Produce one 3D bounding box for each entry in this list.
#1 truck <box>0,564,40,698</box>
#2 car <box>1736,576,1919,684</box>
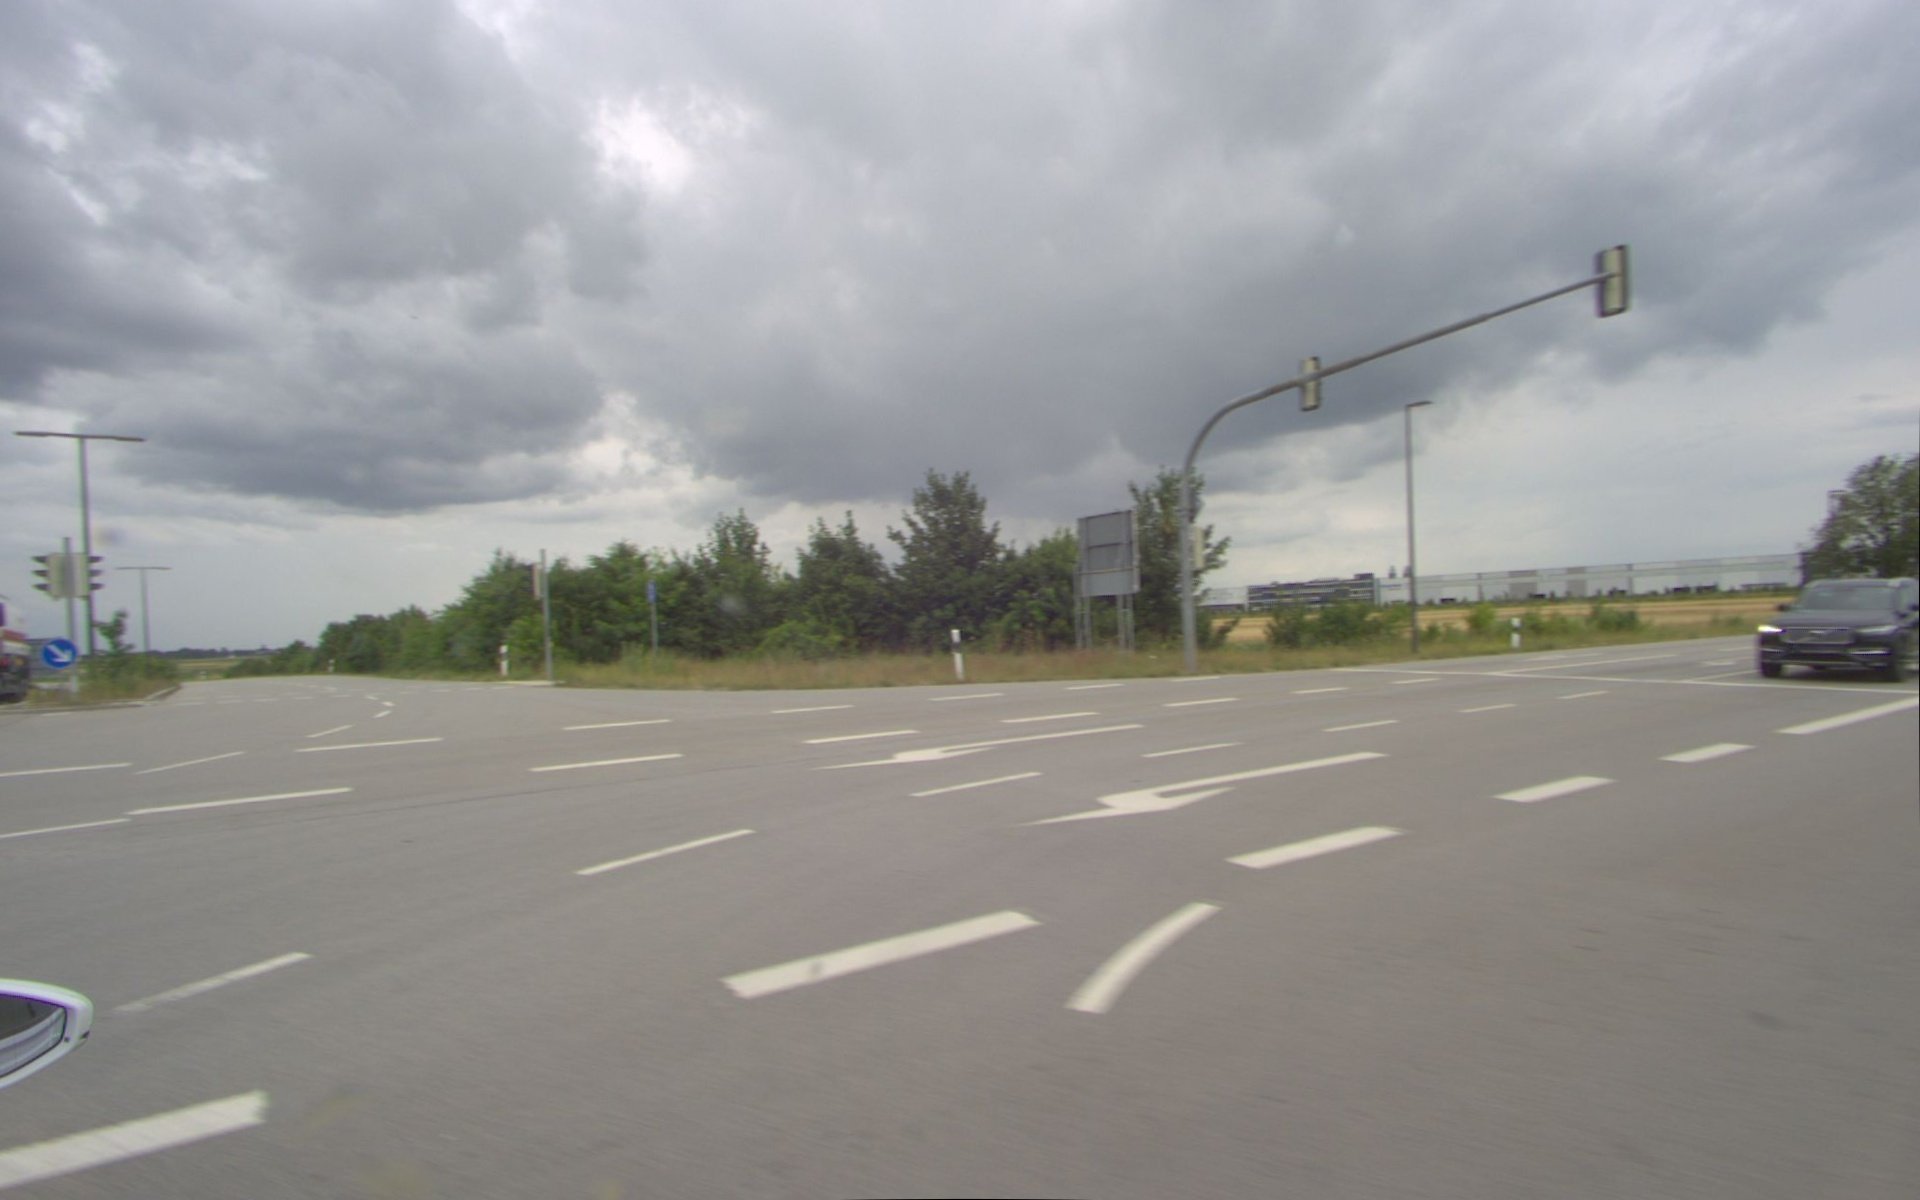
[{"bbox_3d":[-28.046,1.028,27.827,2.844,3.451,8.588,-2,-1,-38],"label":"truck"},{"bbox_3d":[16.261,0.468,17.959,4.926,1.706,1.990,-1,-1,-30],"label":"car"}]
